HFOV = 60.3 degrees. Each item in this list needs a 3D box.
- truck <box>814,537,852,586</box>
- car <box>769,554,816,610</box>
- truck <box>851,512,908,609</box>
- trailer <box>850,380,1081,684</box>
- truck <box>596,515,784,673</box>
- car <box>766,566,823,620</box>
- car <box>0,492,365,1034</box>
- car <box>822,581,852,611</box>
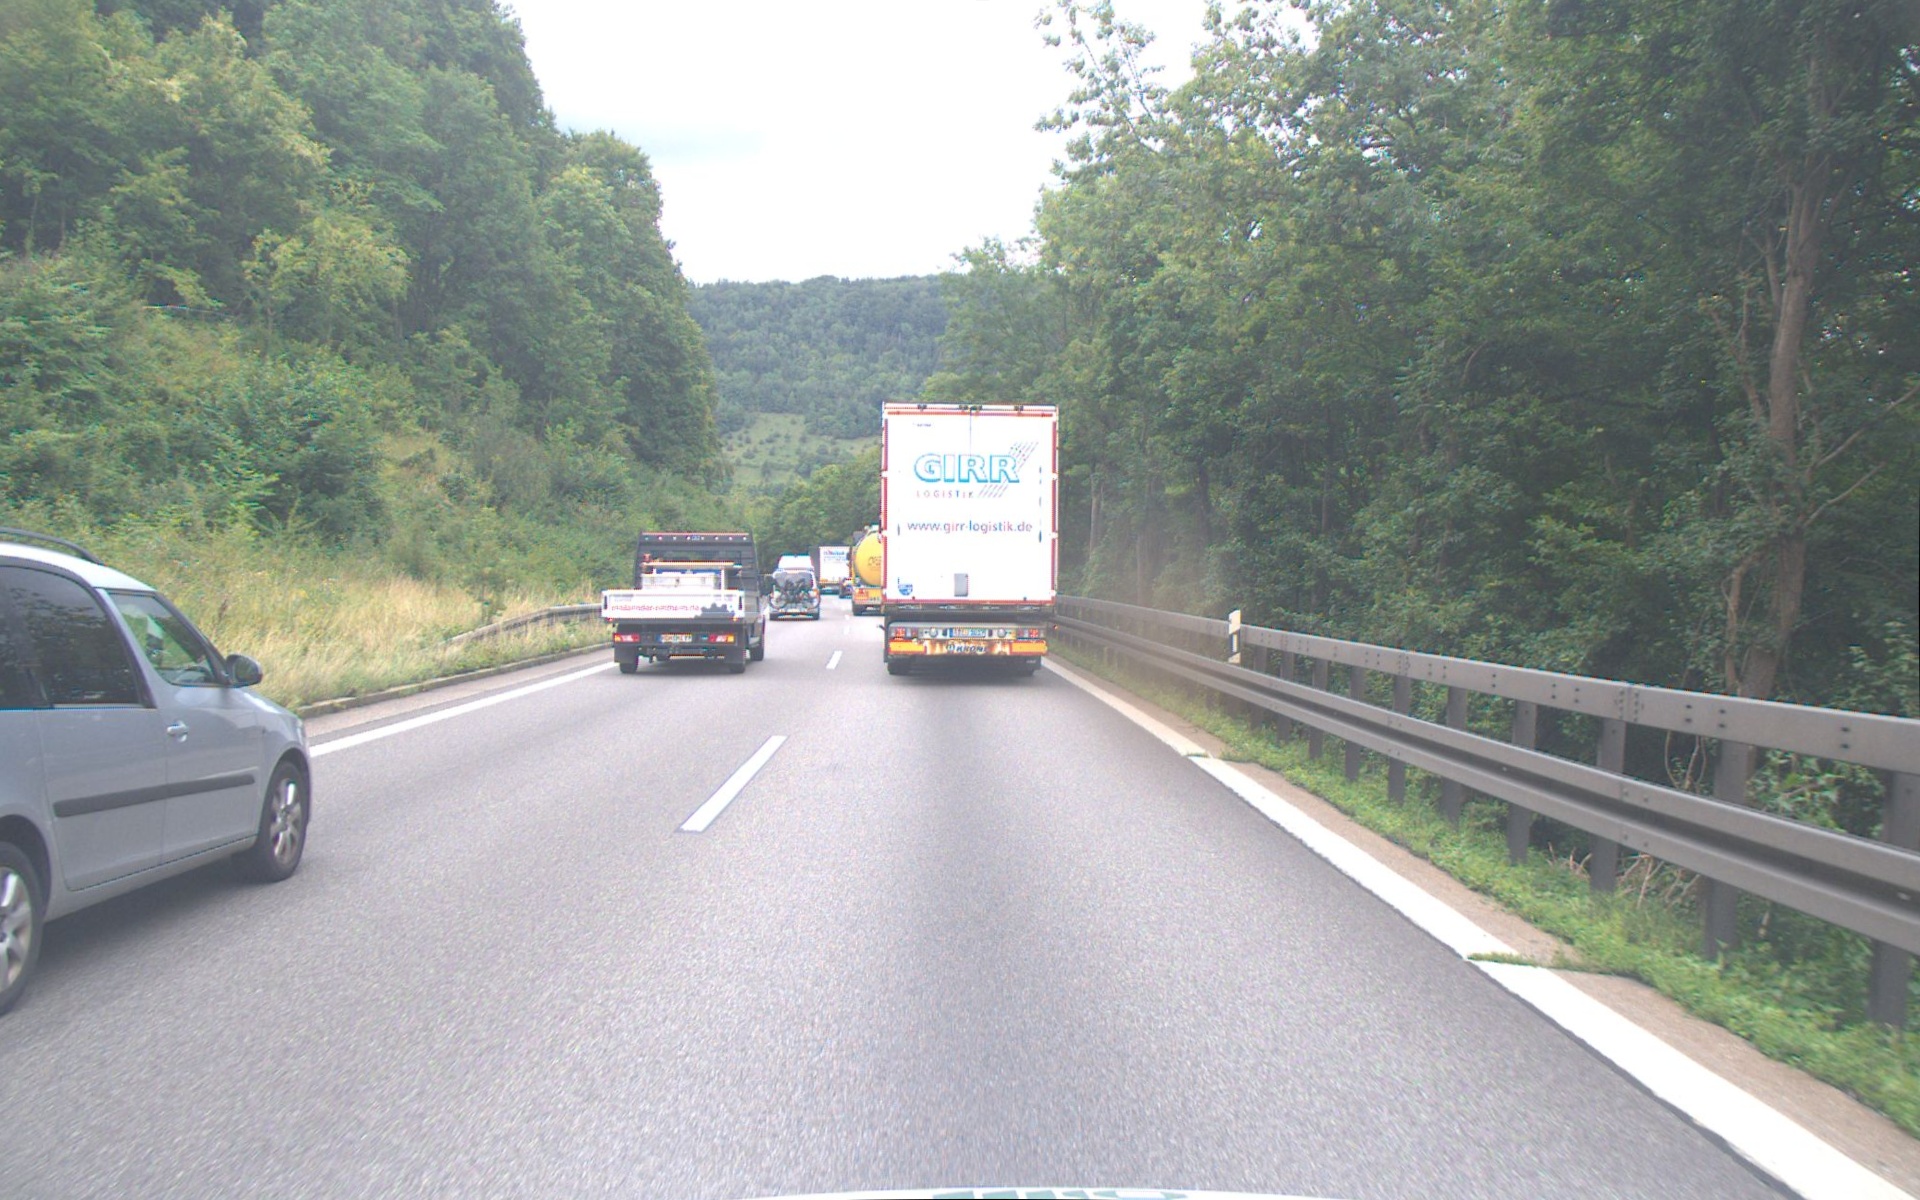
[{"bbox_3d":[-10.653,-3.151,138.593,3.009,3.945,8.450,1,0,-5],"label":"truck"},{"bbox_3d":[-8.301,-0.912,82.535,2.082,2.644,5.560,0,1,-3],"label":"car"},{"bbox_3d":[-3.428,-1.636,70.235,2.189,3.870,6.819,1,0,-3],"label":"truck"},{"bbox_3d":[-0.082,-1.031,27.903,3.070,4.113,9.436,3,1,-2],"label":"trailer"},{"bbox_3d":[-4.409,-0.133,28.229,2.302,2.313,6.846,1,1,-2],"label":"truck"},{"bbox_3d":[-6.274,-0.308,63.197,1.978,1.947,5.559,1,1,-4],"label":"car"},{"bbox_3d":[-3.956,0.505,6.759,1.601,1.756,4.343,0,1,-2],"label":"car"},{"bbox_3d":[-8.702,-0.324,116.744,1.955,2.049,3.994,1,0,-7],"label":"car"}]
